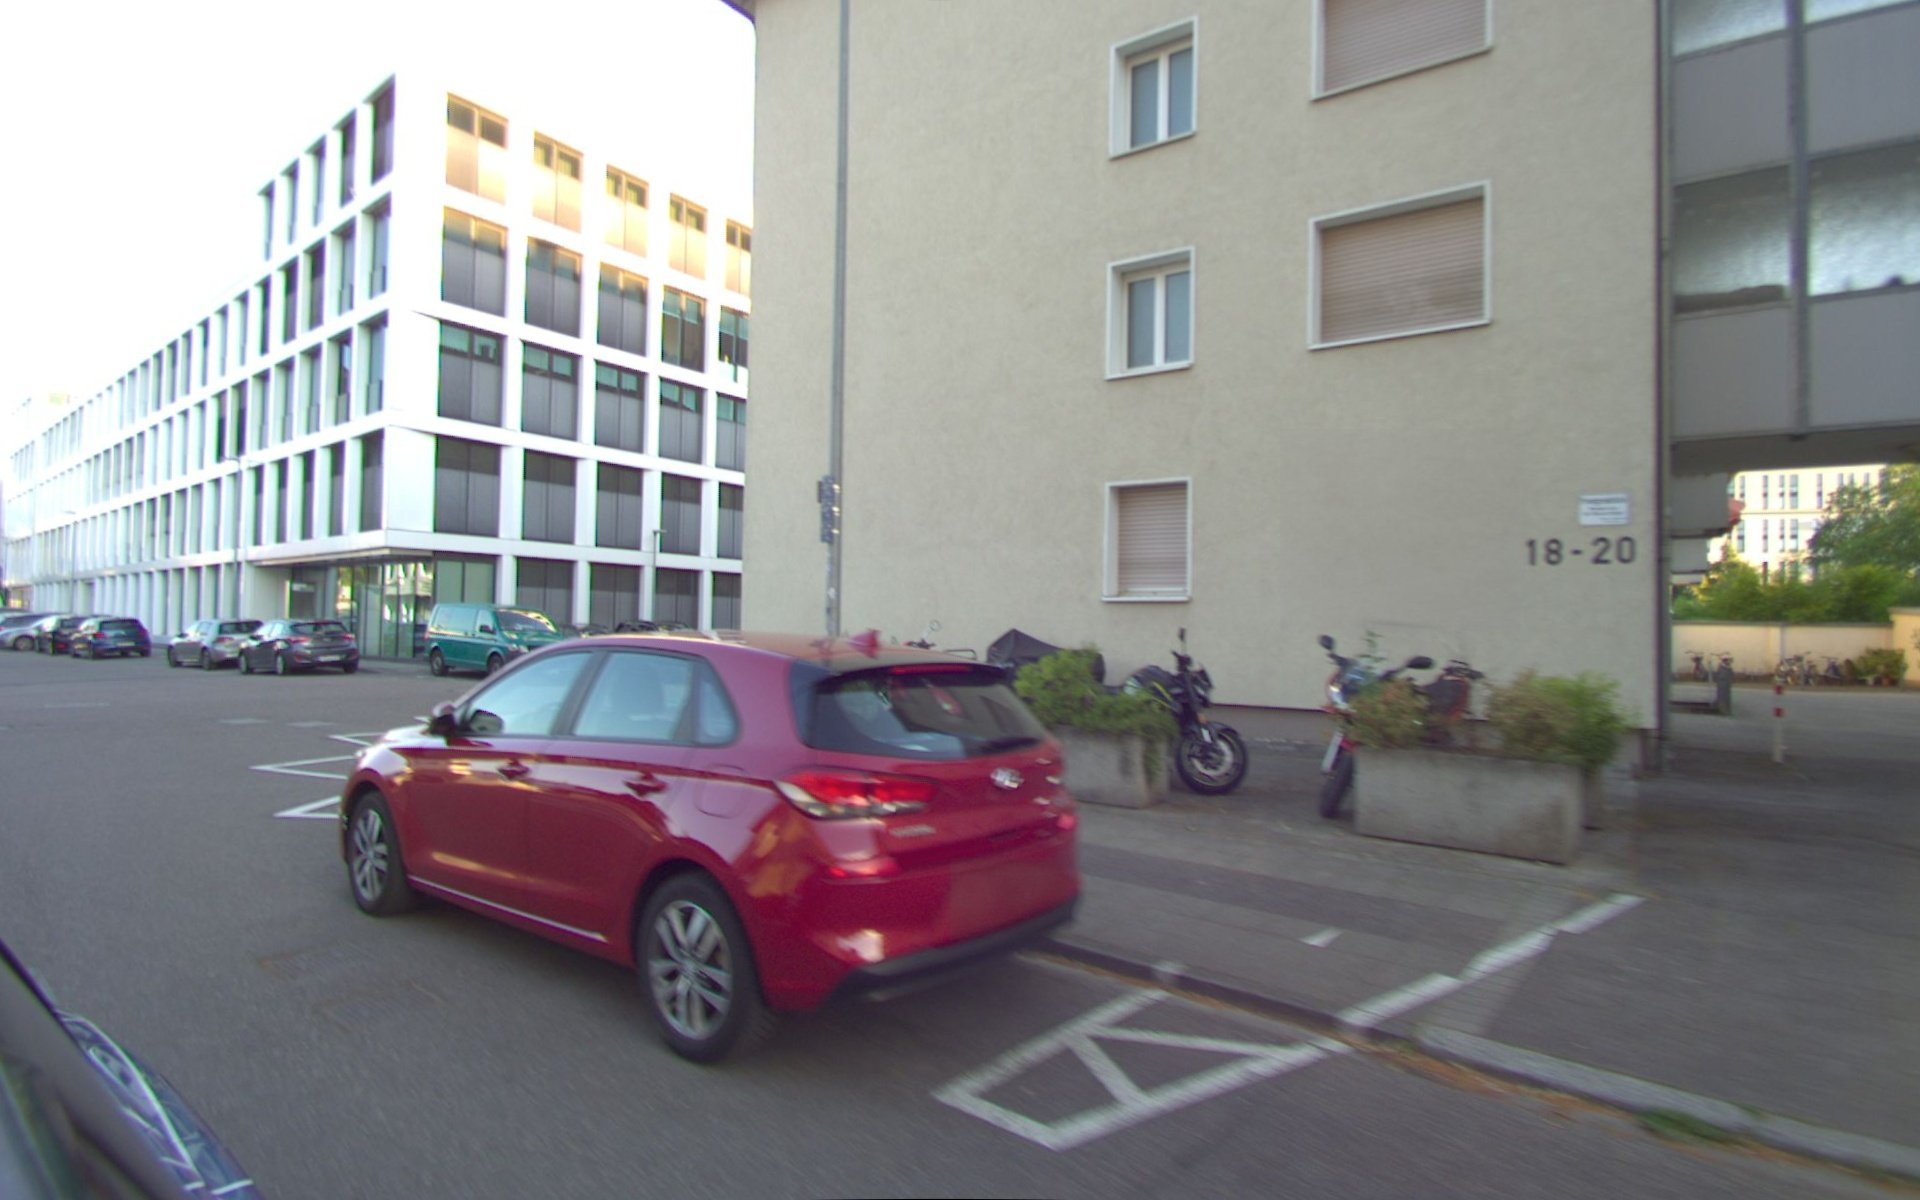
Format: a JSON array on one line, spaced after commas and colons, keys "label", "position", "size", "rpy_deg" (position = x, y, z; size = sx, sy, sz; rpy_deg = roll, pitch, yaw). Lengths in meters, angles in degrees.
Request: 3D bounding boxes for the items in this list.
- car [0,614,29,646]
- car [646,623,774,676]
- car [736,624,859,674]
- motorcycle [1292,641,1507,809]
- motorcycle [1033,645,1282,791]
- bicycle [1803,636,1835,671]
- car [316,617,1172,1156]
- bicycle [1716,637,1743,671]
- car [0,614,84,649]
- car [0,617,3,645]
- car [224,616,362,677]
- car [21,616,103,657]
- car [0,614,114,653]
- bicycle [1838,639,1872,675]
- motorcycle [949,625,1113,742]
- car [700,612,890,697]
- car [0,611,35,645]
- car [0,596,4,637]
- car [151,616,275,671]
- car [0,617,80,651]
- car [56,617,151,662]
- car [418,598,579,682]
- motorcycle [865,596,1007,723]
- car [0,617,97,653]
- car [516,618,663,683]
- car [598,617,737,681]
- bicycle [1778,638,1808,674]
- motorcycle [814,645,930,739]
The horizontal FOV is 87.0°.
[{"label": "car", "position": [-48.134, 1.491, 49.562], "size": [1.696, 1.523, 3.627], "rpy_deg": [-2, -2, 42]}, {"label": "car", "position": [-8.031, 1.528, 32.347], "size": [4.192, 1.467, 1.713], "rpy_deg": [1, -1, 37]}, {"label": "car", "position": [-5.567, 1.615, 34.429], "size": [4.192, 1.467, 1.713], "rpy_deg": [1, -1, 37]}, {"label": "motorcycle", "position": [3.367, 0.870, 7.646], "size": [2.096, 1.114, 0.561], "rpy_deg": [2, -2, -38]}, {"label": "motorcycle", "position": [1.630, 0.941, 8.649], "size": [2.033, 1.087, 0.675], "rpy_deg": [-2, -2, 42]}, {"label": "bicycle", "position": [30.924, 1.914, 36.444], "size": [0.517, 1.237, 1.828], "rpy_deg": [-1, -2, 29]}, {"label": "car", "position": [-1.257, 0.851, 4.814], "size": [4.073, 1.484, 1.827], "rpy_deg": [-1, -3, 39]}, {"label": "bicycle", "position": [28.612, 2.003, 37.659], "size": [0.517, 1.237, 1.828], "rpy_deg": [-1, -2, 29]}, {"label": "car", "position": [-41.888, 1.393, 45.451], "size": [1.686, 1.523, 3.618], "rpy_deg": [-2, -2, 39]}, {"label": "car", "position": [-54.767, 1.705, 55.033], "size": [1.690, 1.534, 3.746], "rpy_deg": [-2, -2, 37]}, {"label": "car", "position": [-17.881, 1.197, 27.063], "size": [4.324, 1.490, 1.763], "rpy_deg": [-1, -1, 37]}, {"label": "car", "position": [-35.172, 1.418, 39.609], "size": [4.196, 1.449, 1.632], "rpy_deg": [-1, 1, 38]}, {"label": "car", "position": [-38.025, 1.384, 42.265], "size": [1.686, 1.523, 3.887], "rpy_deg": [-2, -2, 39]}, {"label": "bicycle", "position": [31.924, 2.012, 36.117], "size": [0.517, 1.237, 1.828], "rpy_deg": [-1, -2, 29]}, {"label": "motorcycle", "position": [0.798, 0.945, 12.072], "size": [0.714, 1.274, 2.084], "rpy_deg": [2, -2, -39]}, {"label": "car", "position": [-3.574, 1.203, 22.495], "size": [1.876, 1.630, 3.972], "rpy_deg": [-6, -5, 35]}, {"label": "car", "position": [-50.060, 1.430, 51.288], "size": [2.004, 1.719, 4.569], "rpy_deg": [-2, -2, 42]}, {"label": "car", "position": [-63.805, 1.071, 63.521], "size": [2.076, 2.653, 5.326], "rpy_deg": [-2, -2, 40]}, {"label": "car", "position": [-22.413, 1.275, 30.339], "size": [4.174, 1.490, 1.696], "rpy_deg": [-1, 1, 35]}, {"label": "car", "position": [-43.685, 1.567, 47.103], "size": [1.794, 1.523, 3.924], "rpy_deg": [-2, -2, 40]}, {"label": "car", "position": [-30.448, 1.371, 35.942], "size": [4.176, 1.449, 1.633], "rpy_deg": [-1, 1, 36]}, {"label": "car", "position": [-12.088, 0.991, 26.392], "size": [4.681, 1.995, 1.781], "rpy_deg": [0, -2, 37]}, {"label": "motorcycle", "position": [-0.301, 0.579, 10.383], "size": [0.679, 1.169, 2.040], "rpy_deg": [1, -2, -25]}, {"label": "car", "position": [-40.066, 1.513, 44.030], "size": [1.686, 1.523, 3.618], "rpy_deg": [-2, -2, 39]}, {"label": "car", "position": [-10.341, 1.356, 28.141], "size": [4.324, 1.561, 1.763], "rpy_deg": [1, -1, 37]}, {"label": "car", "position": [-8.705, 1.390, 29.983], "size": [4.324, 1.672, 1.713], "rpy_deg": [1, -1, 37]}, {"label": "bicycle", "position": [30.316, 2.024, 36.848], "size": [0.517, 1.237, 1.828], "rpy_deg": [-1, -2, 29]}, {"label": "motorcycle", "position": [-1.186, 1.149, 13.192], "size": [0.713, 1.087, 2.087], "rpy_deg": [1, -2, -29]}]
